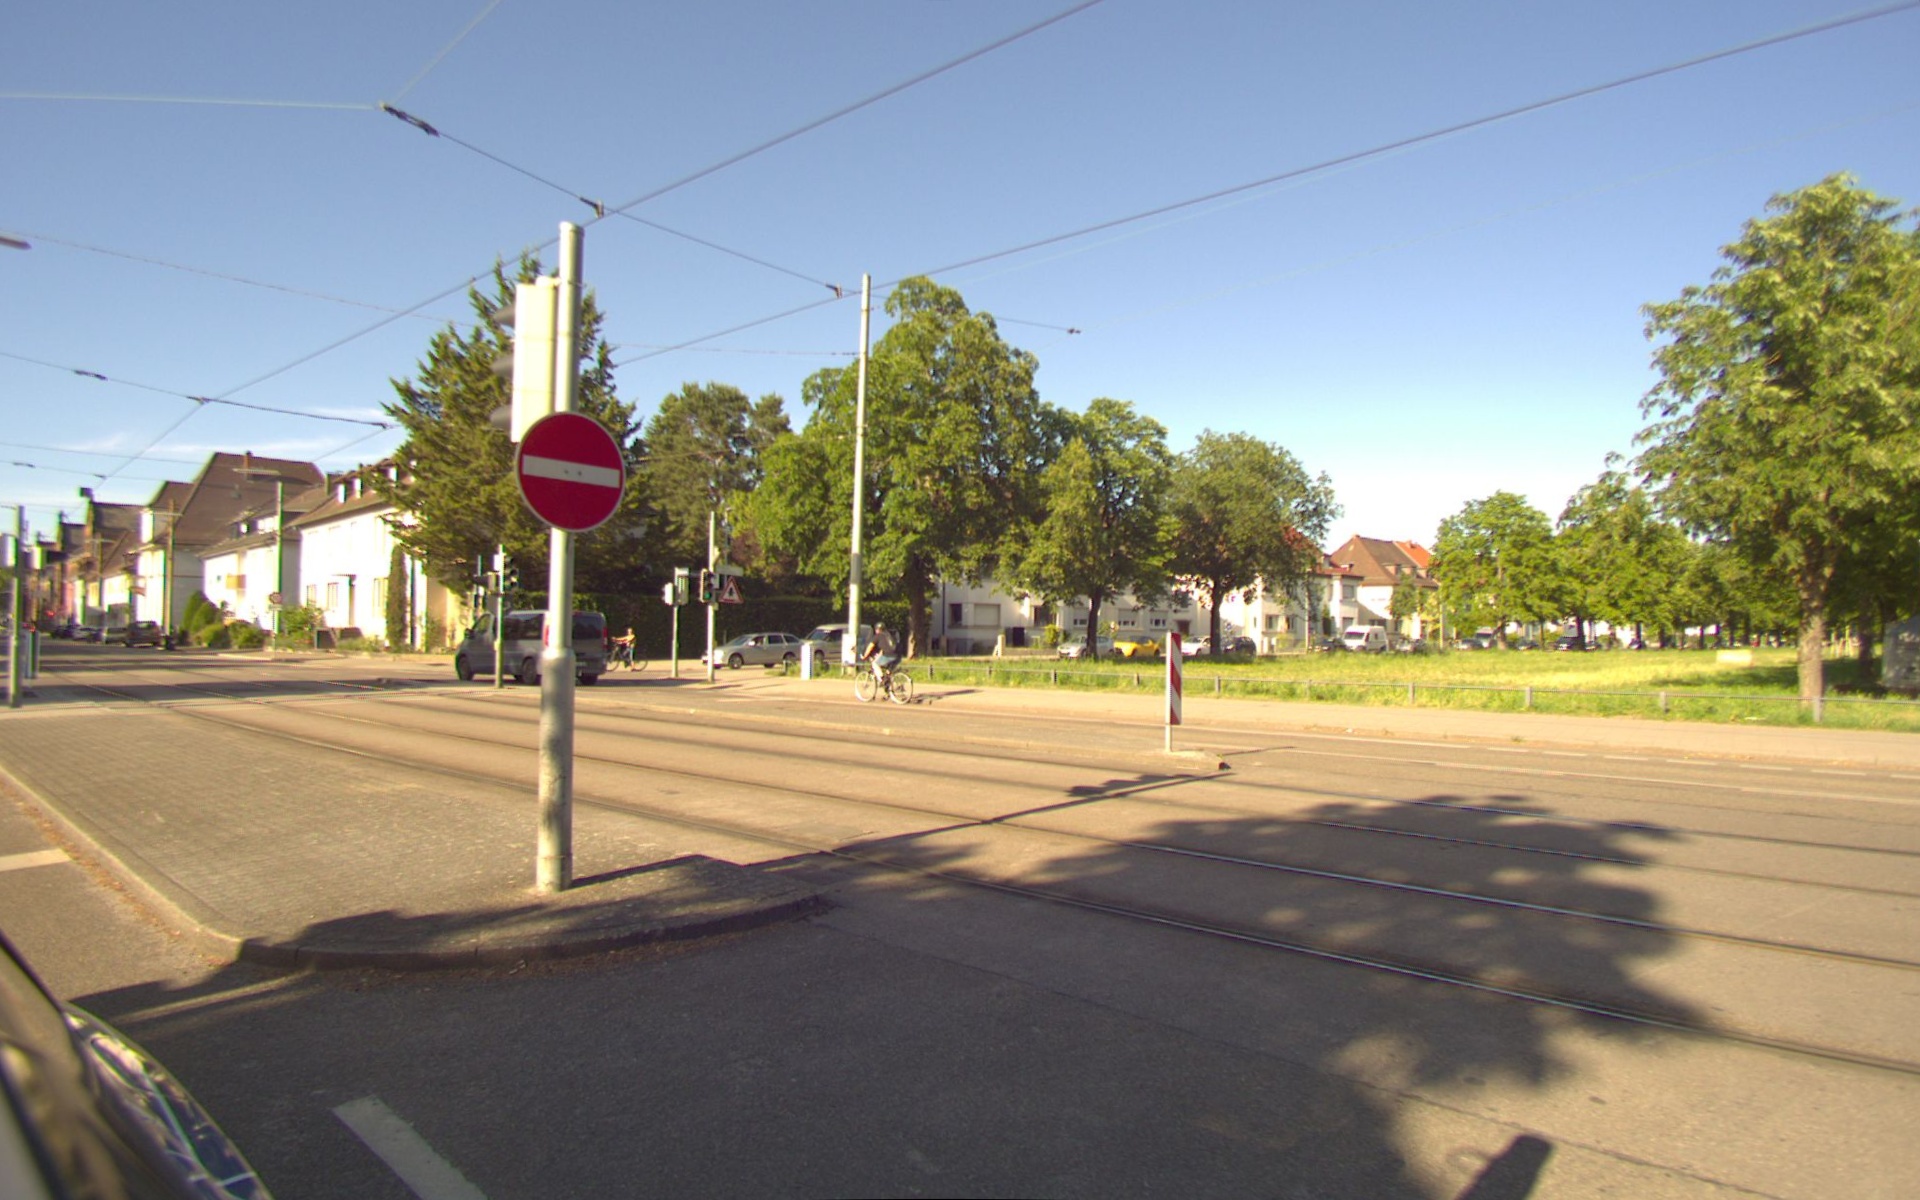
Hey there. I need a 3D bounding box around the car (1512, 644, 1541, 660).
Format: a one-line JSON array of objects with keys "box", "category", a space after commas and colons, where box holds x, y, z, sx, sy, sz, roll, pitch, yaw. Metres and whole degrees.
[{"box": [64.442, 5.879, 115.090, 3.828, 1.756, 1.818, 2, -3, -44], "category": "car"}]

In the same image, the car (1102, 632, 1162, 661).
[{"box": [10.903, 2.925, 63.906, 3.828, 1.756, 1.818, 2, -3, -44], "category": "car"}]

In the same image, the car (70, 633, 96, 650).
[{"box": [-87.040, 4.083, 100.411, 1.896, 1.576, 4.005, 0, -1, -42], "category": "car"}]

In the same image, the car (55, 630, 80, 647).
[{"box": [-97.631, 4.195, 110.692, 1.897, 1.728, 4.003, -1, -1, -44], "category": "car"}]

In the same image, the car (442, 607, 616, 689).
[{"box": [-11.788, 1.364, 27.536, 5.241, 2.029, 2.001, -3, -5, 37], "category": "car"}]

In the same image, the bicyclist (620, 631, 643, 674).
[{"box": [-12.586, 2.001, 38.782, 0.551, 1.635, 0.900, 2, -3, -38], "category": "bicyclist"}]

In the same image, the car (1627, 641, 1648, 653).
[{"box": [99.186, 6.855, 148.113, 3.828, 1.756, 1.818, 2, -3, -44], "category": "car"}]

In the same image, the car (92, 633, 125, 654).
[{"box": [-75.962, 3.857, 90.301, 4.001, 1.728, 1.897, -2, -2, 44], "category": "car"}]

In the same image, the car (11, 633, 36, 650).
[{"box": [-99.609, 4.381, 107.664, 1.896, 1.728, 4.005, 0, -1, -42], "category": "car"}]

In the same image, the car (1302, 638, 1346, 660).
[{"box": [29.352, 3.921, 81.636, 3.828, 1.756, 1.818, 2, -3, -44], "category": "car"}]

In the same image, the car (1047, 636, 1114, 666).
[{"box": [7.257, 3.028, 60.646, 4.138, 1.756, 1.818, 2, -3, -44], "category": "car"}]

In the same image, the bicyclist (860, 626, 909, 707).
[{"box": [-1.652, 1.446, 22.102, 0.901, 1.724, 0.580, -2, -5, 41], "category": "bicyclist"}]

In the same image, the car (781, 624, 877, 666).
[{"box": [-6.132, 2.084, 47.668, 4.251, 1.881, 1.818, 2, -3, -44], "category": "car"}]

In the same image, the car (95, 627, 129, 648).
[{"box": [-71.866, 3.198, 85.763, 1.897, 1.728, 4.002, 0, -2, -45], "category": "car"}]

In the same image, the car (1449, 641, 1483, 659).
[{"box": [51.405, 5.064, 102.805, 3.828, 1.756, 1.818, 2, -3, -44], "category": "car"}]

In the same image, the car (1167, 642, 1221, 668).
[{"box": [15.981, 3.737, 69.013, 3.828, 1.756, 1.818, 2, -3, -44], "category": "car"}]

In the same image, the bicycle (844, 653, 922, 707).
[{"box": [-1.702, 1.737, 22.165, 1.826, 1.122, 0.580, -2, -4, 42], "category": "bicycle"}]

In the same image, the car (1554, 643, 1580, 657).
[{"box": [75.267, 6.168, 125.519, 3.828, 1.756, 1.818, 2, -3, -44], "category": "car"}]

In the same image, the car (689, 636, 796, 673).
[{"box": [-8.886, 2.223, 41.509, 3.937, 1.444, 1.819, 2, -3, -40], "category": "car"}]

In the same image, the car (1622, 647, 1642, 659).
[{"box": [98.674, 7.751, 148.512, 3.631, 1.756, 1.668, 2, -4, -44], "category": "car"}]

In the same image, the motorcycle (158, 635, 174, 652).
[{"box": [-50.896, 2.816, 64.878, 0.597, 1.054, 2.439, 0, -2, -44], "category": "motorcycle"}]

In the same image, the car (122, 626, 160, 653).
[{"box": [-61.176, 2.972, 75.547, 1.896, 1.915, 4.004, 0, -2, -43], "category": "car"}]

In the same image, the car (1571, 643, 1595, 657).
[{"box": [82.567, 6.611, 134.144, 3.828, 1.756, 1.818, 2, -3, -44], "category": "car"}]

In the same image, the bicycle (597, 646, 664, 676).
[{"box": [-12.599, 2.314, 38.746, 2.250, 1.126, 0.932, 2, -3, -38], "category": "bicycle"}]

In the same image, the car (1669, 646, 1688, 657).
[{"box": [118.408, 8.470, 166.844, 3.828, 1.756, 1.818, 2, -3, -44], "category": "car"}]

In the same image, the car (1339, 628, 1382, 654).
[{"box": [33.967, 3.462, 85.775, 4.120, 2.110, 1.818, 2, -4, -44], "category": "car"}]
